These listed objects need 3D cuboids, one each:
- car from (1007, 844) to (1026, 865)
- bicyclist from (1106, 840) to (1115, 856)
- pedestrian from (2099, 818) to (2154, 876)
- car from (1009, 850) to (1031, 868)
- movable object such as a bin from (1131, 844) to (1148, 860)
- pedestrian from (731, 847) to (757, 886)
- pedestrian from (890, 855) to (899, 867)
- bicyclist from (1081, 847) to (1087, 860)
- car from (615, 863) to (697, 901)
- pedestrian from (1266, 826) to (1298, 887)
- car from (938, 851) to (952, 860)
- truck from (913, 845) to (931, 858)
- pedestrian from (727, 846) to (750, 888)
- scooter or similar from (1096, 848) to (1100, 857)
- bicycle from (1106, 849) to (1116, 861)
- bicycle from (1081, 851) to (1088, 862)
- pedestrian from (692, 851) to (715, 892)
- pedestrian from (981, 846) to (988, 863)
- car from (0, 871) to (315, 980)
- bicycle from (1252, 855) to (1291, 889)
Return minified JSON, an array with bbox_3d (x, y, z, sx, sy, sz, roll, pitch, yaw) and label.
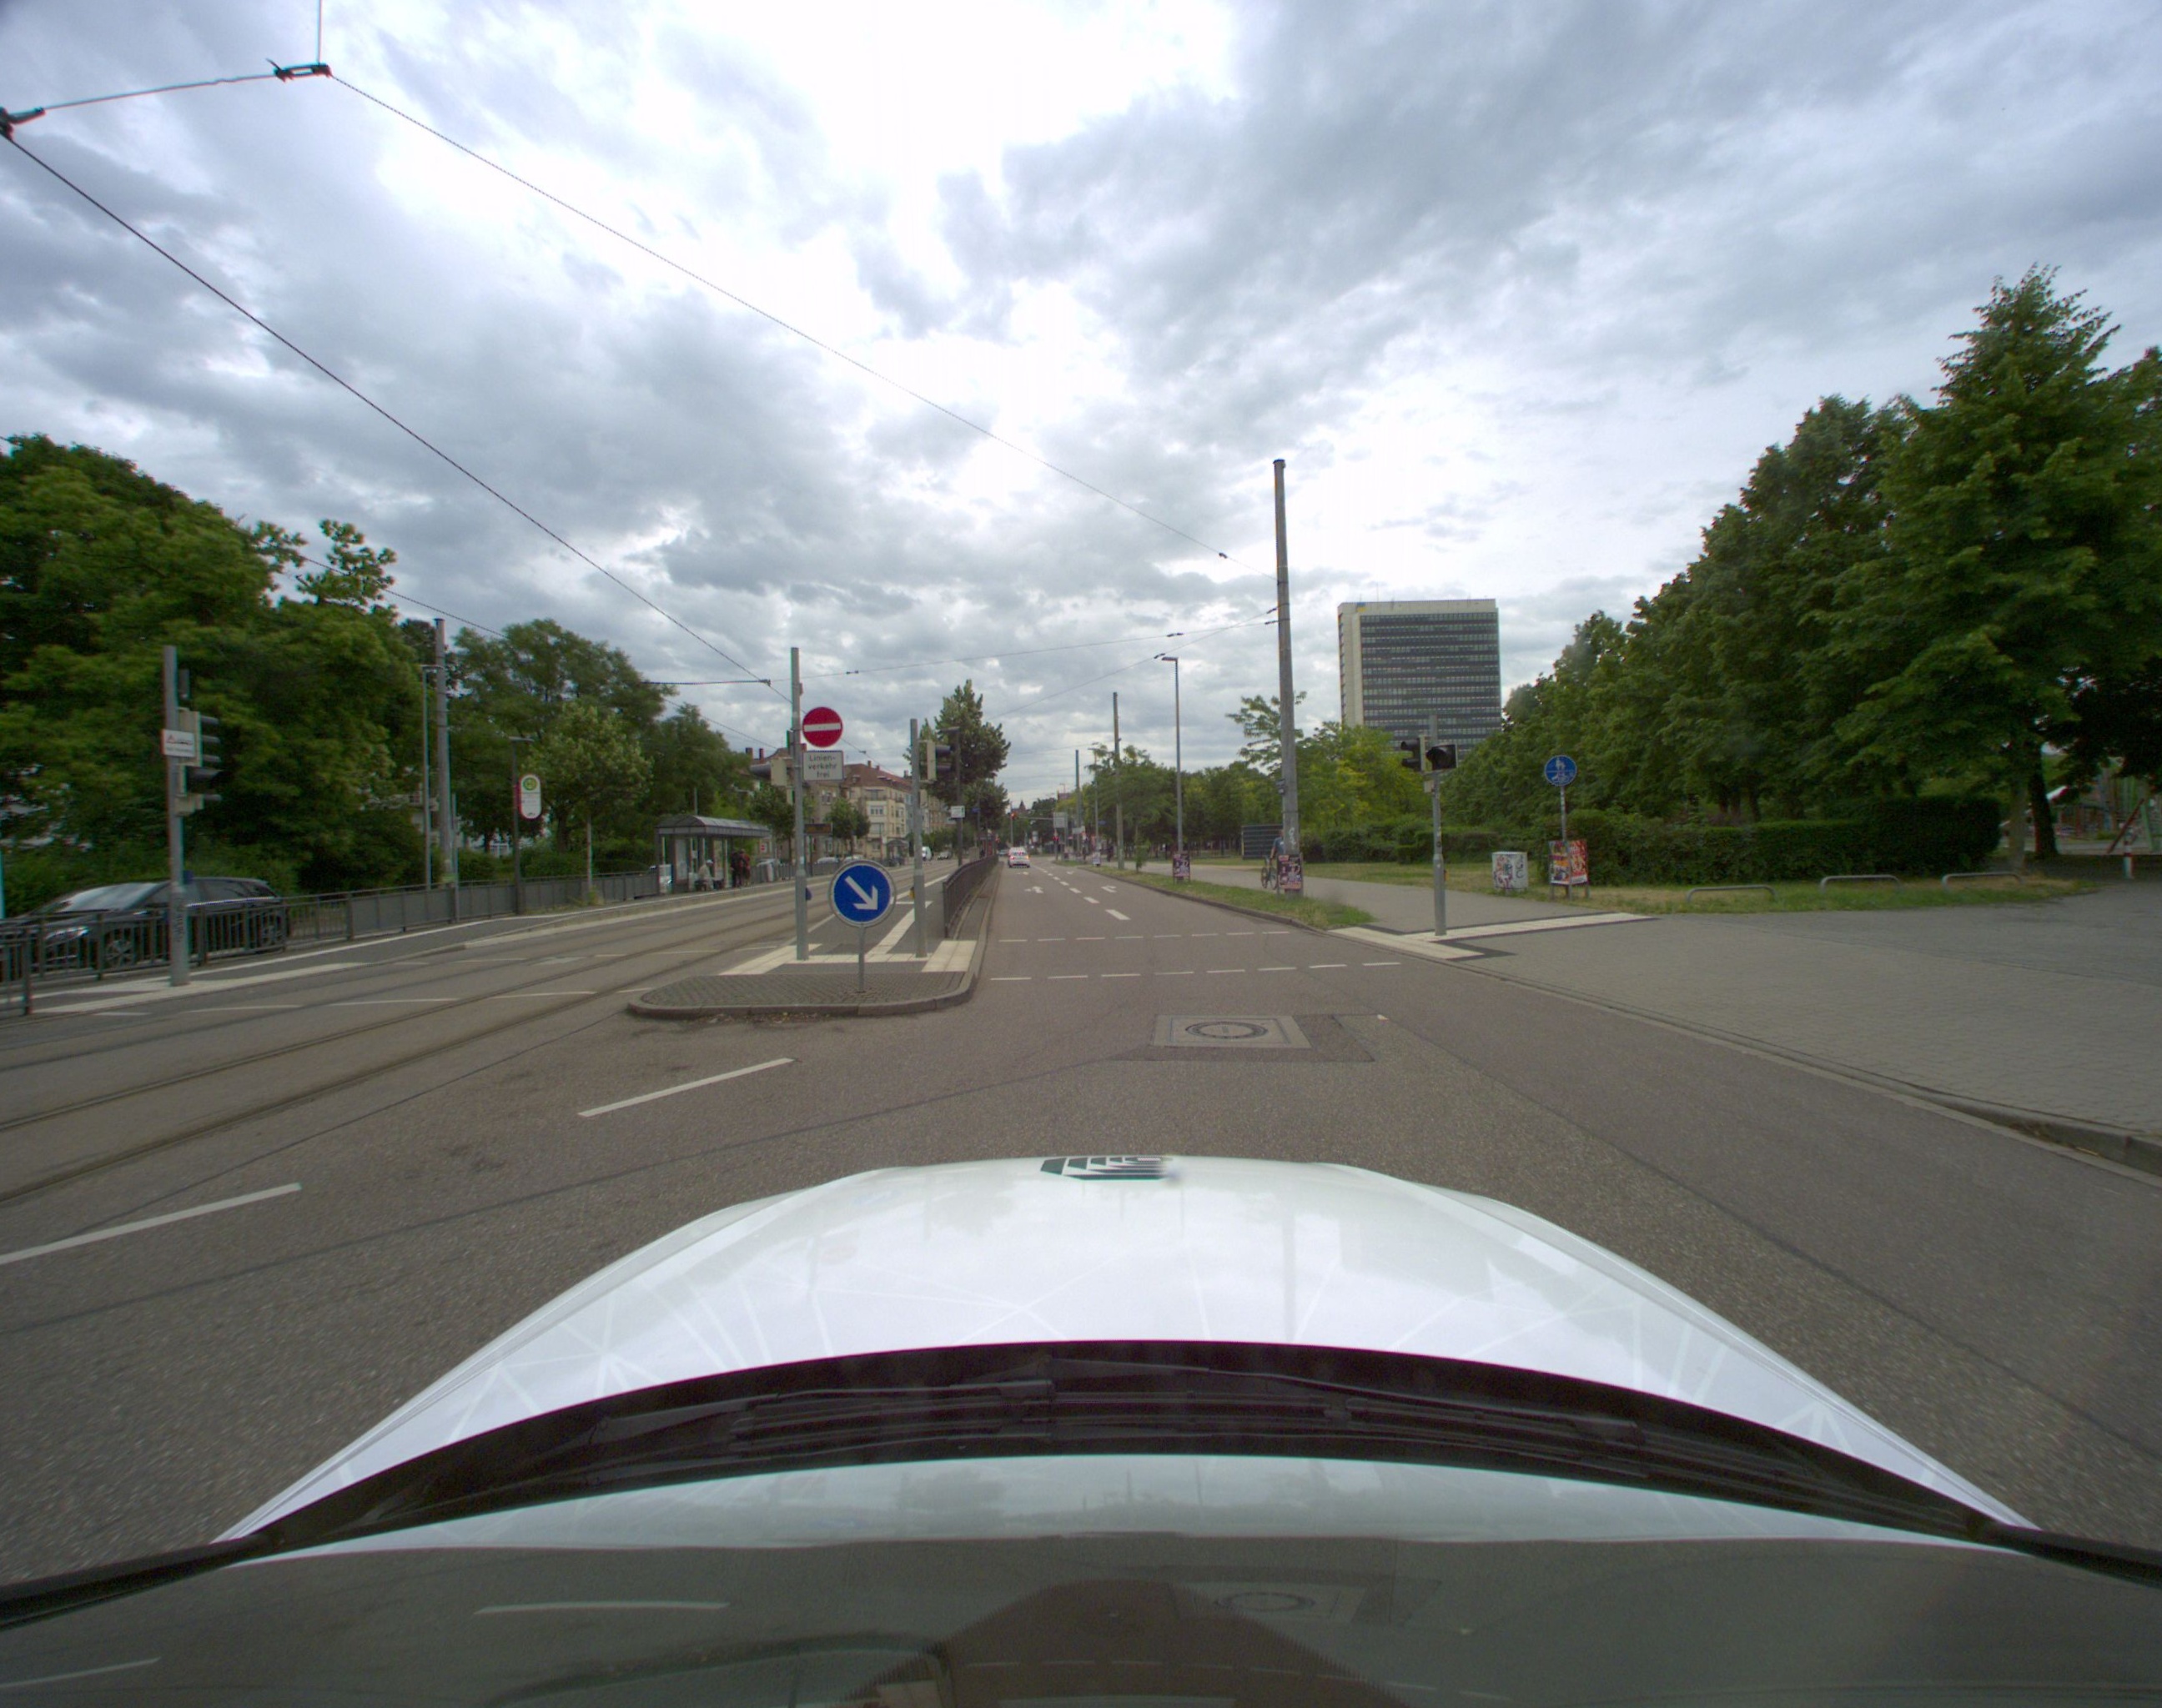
[{"bbox_3d":[-6.545,0.028,81.998,1.780,1.962,4.373,-2,1,-6],"label":"car"},{"bbox_3d":[2.842,-0.594,78.249,0.679,1.537,0.671,-2,0,-8],"label":"bicyclist"},{"bbox_3d":[21.721,-0.142,16.927,0.585,1.183,0.630,-2,1,43],"label":"pedestrian"},{"bbox_3d":[-5.239,0.421,70.243,1.779,1.472,4.005,-2,1,-3],"label":"car"},{"bbox_3d":[5.205,-0.199,72.699,1.280,1.390,1.157,-2,0,-5],"label":"movable object such as a bin"},{"bbox_3d":[-15.077,0.544,36.447,0.768,1.660,1.022,-2,0,-8],"label":"pedestrian"},{"bbox_3d":[-20.185,0.799,88.169,0.864,1.267,0.692,-2,0,-8],"label":"pedestrian"},{"bbox_3d":[0.328,-0.025,89.454,0.677,1.379,0.727,-2,0,0],"label":"bicyclist"},{"bbox_3d":[-18.546,1.175,35.747,1.767,1.493,3.880,-2,0,-5],"label":"car"},{"bbox_3d":[6.287,0.071,25.491,0.738,1.869,0.681,-2,0,-6],"label":"pedestrian"},{"bbox_3d":[-25.263,0.276,151.152,1.764,1.493,3.888,-2,0,1],"label":"car"},{"bbox_3d":[-26.610,-0.371,136.508,1.781,2.032,5.397,-2,0,1],"label":"truck"},{"bbox_3d":[-14.164,0.533,33.701,0.700,1.715,0.696,-2,0,-14],"label":"pedestrian"},{"bbox_3d":[2.105,-0.190,98.692,0.374,1.141,1.201,-2,0,6],"label":"scooter or similar"},{"bbox_3d":[2.873,0.098,78.208,0.678,1.155,1.893,-2,1,-8],"label":"bicycle"},{"bbox_3d":[0.354,0.274,89.448,0.677,1.155,1.898,-2,1,0],"label":"bicycle"},{"bbox_3d":[-15.417,0.709,33.257,0.631,1.624,0.678,-2,0,-8],"label":"pedestrian"},{"bbox_3d":[-8.698,0.032,73.336,0.576,1.481,0.616,-2,0,-8],"label":"pedestrian"},{"bbox_3d":[-16.266,1.125,14.318,1.769,1.493,4.523,-2,0,-9],"label":"car"},{"bbox_3d":[5.985,0.545,25.656,0.653,1.003,1.776,-2,0,-5],"label":"bicycle"}]
